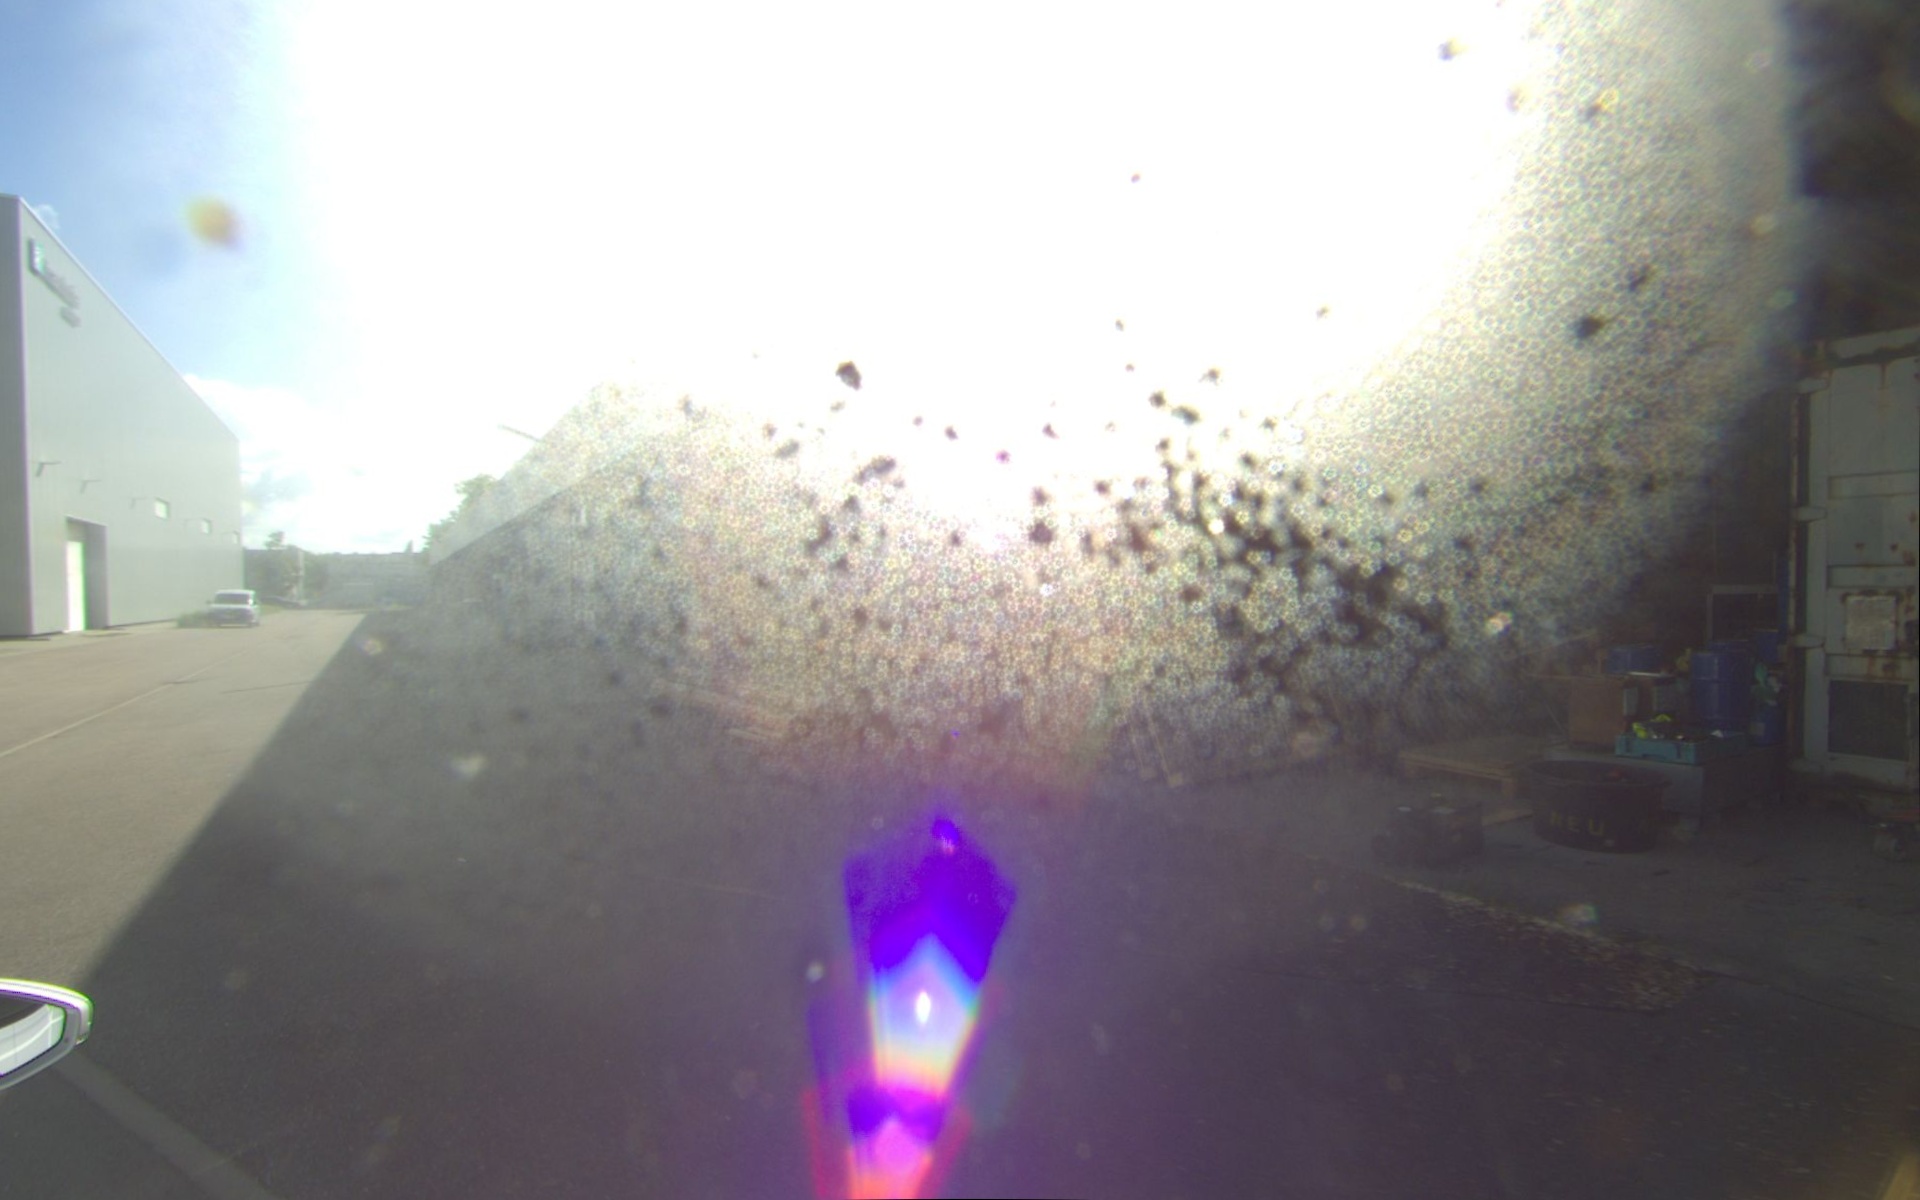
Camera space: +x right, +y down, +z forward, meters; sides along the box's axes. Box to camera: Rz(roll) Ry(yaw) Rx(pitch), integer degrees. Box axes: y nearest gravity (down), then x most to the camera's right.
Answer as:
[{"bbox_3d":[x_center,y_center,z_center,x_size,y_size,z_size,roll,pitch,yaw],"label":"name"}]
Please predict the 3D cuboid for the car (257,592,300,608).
[{"bbox_3d":[-80.282,0.004,117.966,4.041,1.800,1.889,-1,2,-32],"label":"car"}]

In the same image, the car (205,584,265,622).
[{"bbox_3d":[-35.600,0.146,49.265,1.686,1.779,4.279,2,-1,-27],"label":"car"}]

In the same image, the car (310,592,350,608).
[{"bbox_3d":[-75.247,-0.036,119.640,4.041,1.800,1.889,-1,2,-32],"label":"car"}]

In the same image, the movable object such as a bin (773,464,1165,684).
[{"bbox_3d":[0.222,-0.392,16.153,5.883,2.991,2.483,-1,2,-30],"label":"movable object such as a bin"}]
